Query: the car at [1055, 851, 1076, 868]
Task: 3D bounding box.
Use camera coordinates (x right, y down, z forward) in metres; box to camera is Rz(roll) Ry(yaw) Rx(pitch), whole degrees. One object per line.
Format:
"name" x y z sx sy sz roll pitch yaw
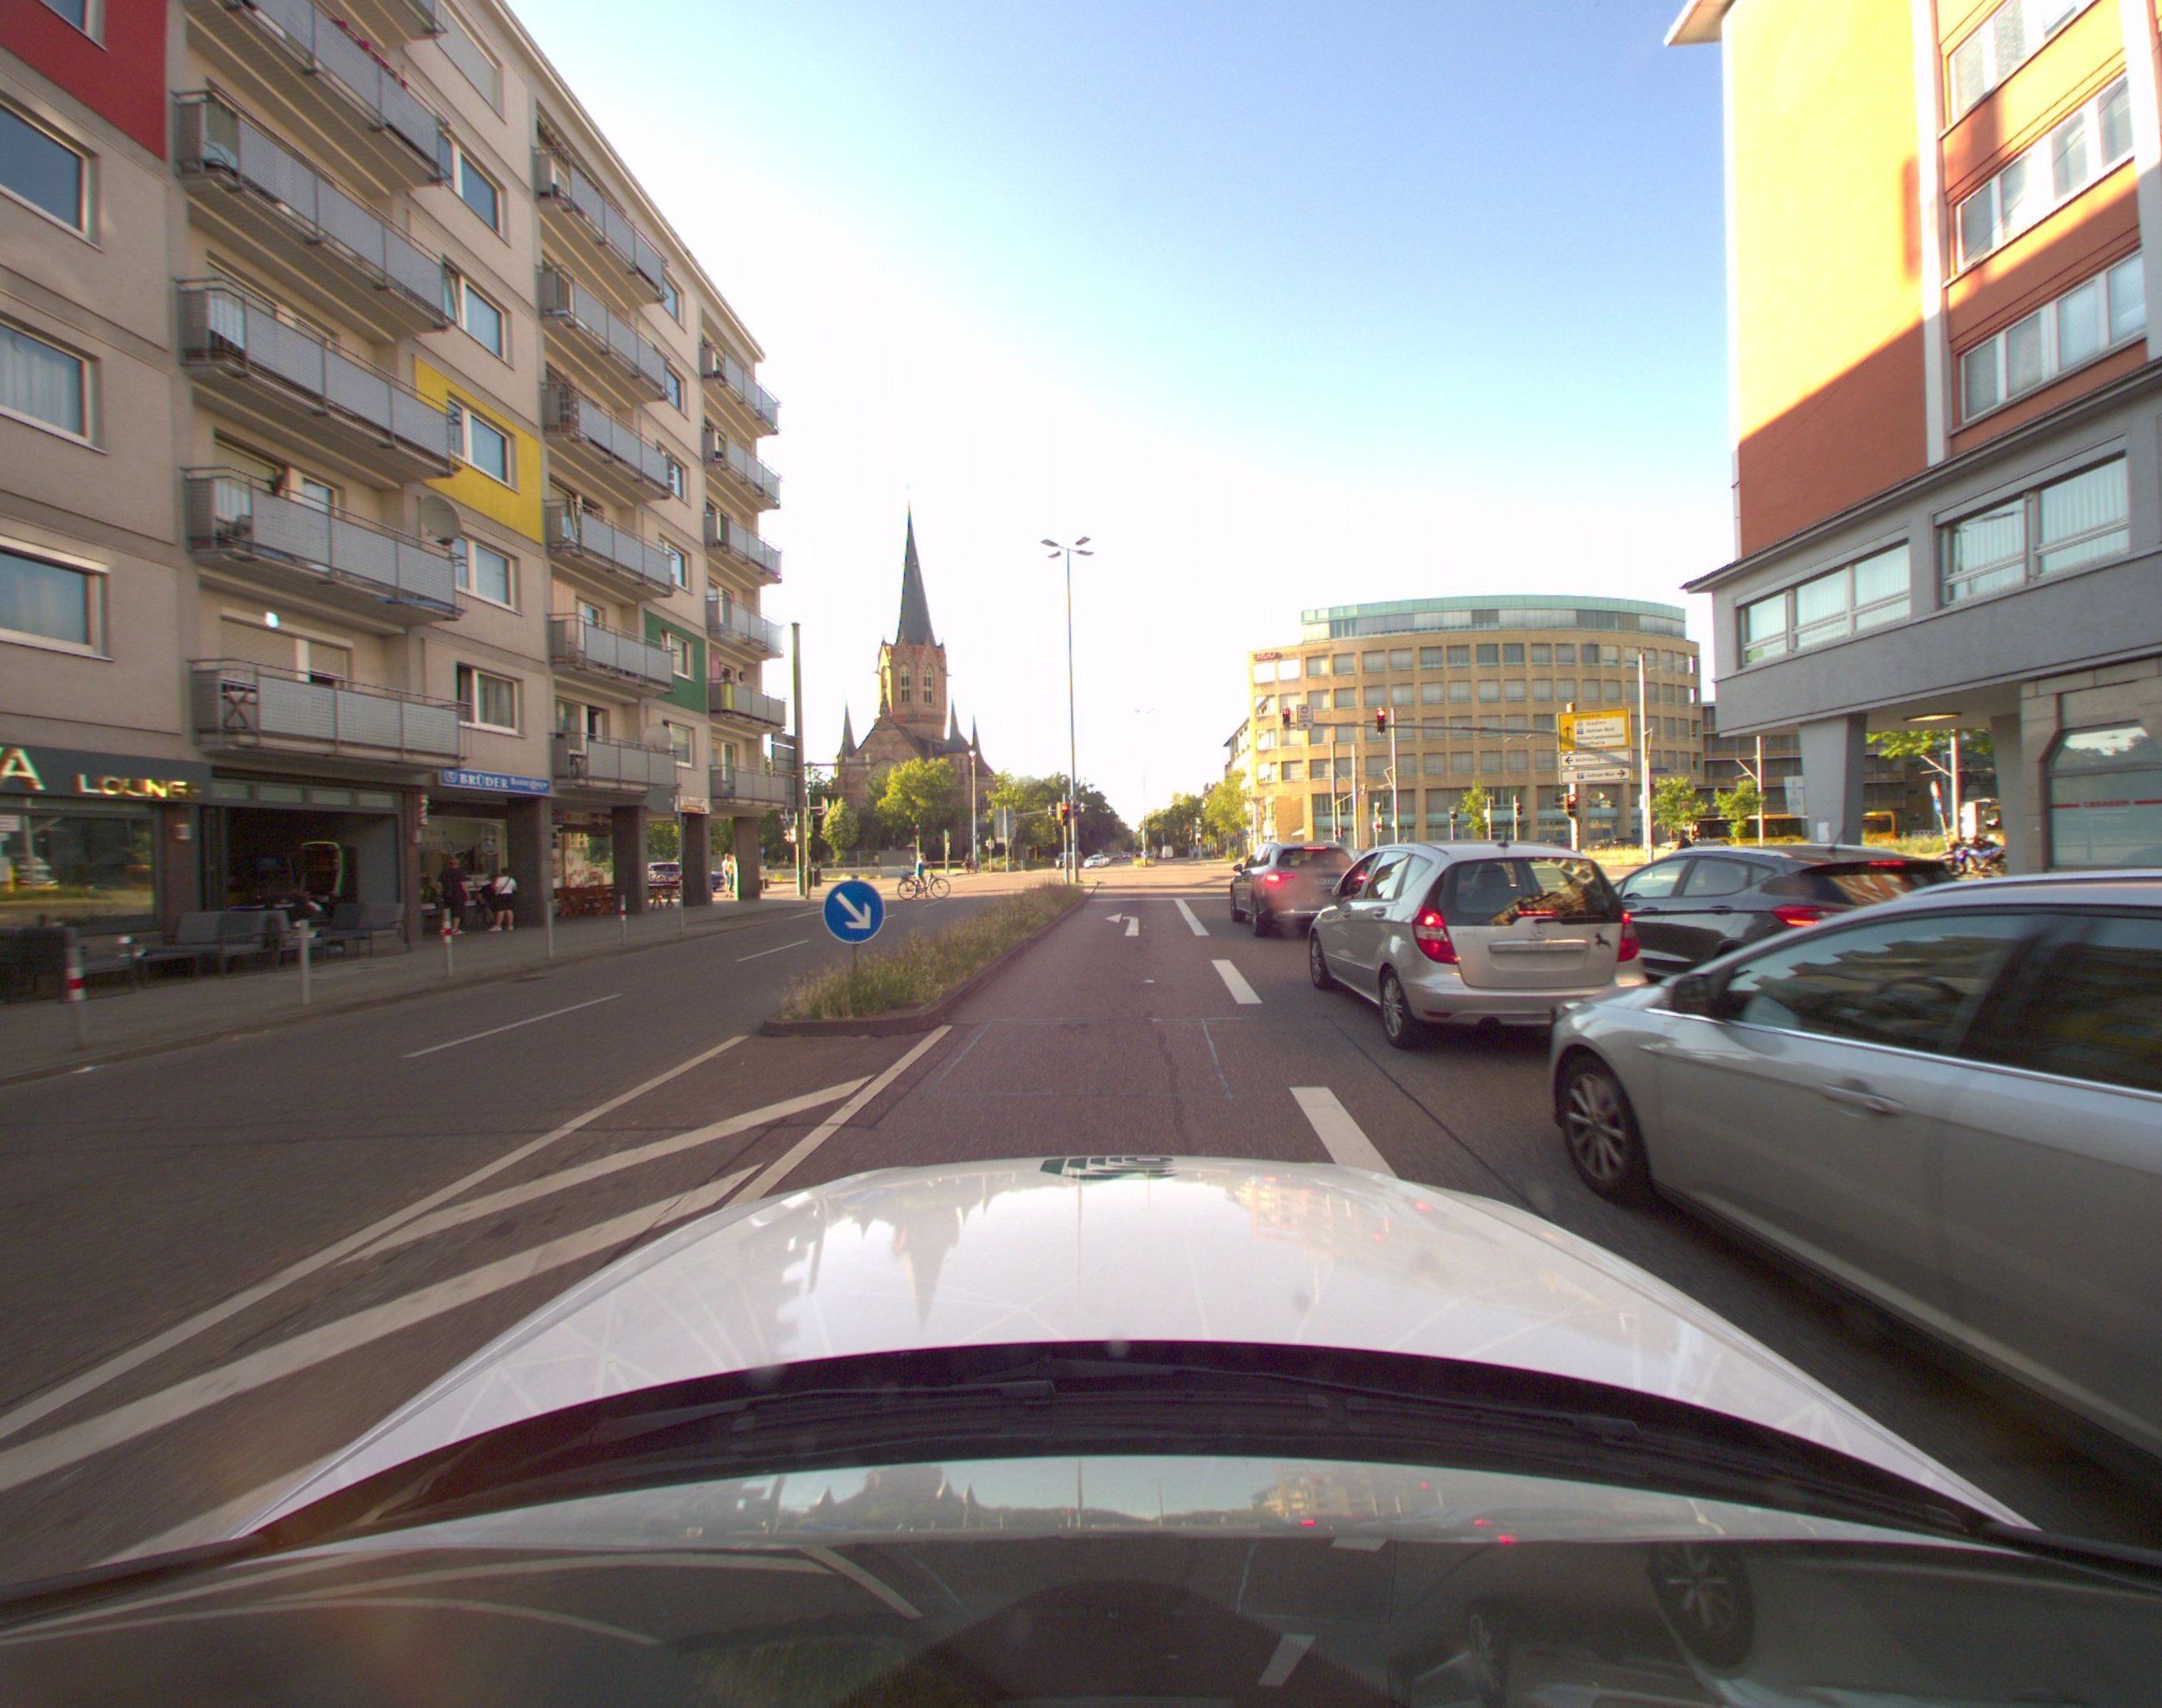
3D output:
"car" -1.652 0.558 87.290 1.772 1.647 4.005 -2 0 4

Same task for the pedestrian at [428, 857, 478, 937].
"pedestrian" -13.926 0.934 18.062 0.784 1.701 0.553 -2 0 -43

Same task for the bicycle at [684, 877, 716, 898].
"bicycle" -16.622 1.444 35.550 0.494 0.840 1.705 -2 0 3

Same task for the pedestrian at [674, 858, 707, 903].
"pedestrian" -15.381 1.038 32.091 0.916 1.758 0.676 -2 0 12

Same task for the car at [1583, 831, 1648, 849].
"car" 43.940 -1.154 67.012 3.972 1.346 2.001 -2 0 1

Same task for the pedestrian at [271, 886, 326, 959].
"pedestrian" -13.642 1.182 14.211 0.524 1.203 0.547 -2 0 -28

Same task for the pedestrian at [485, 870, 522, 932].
"pedestrian" -13.278 1.072 18.724 0.479 1.384 0.484 -2 0 24

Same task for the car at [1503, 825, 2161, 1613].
"car" 2.952 0.682 2.129 1.700 1.510 4.313 -1 0 4

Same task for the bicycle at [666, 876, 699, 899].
"bicycle" -17.400 1.444 35.619 0.494 0.906 1.705 -2 0 3

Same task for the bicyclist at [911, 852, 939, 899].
"bicyclist" -5.714 0.785 29.847 0.779 1.660 0.901 -2 0 3

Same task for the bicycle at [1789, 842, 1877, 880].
"bicycle" 24.284 0.235 26.309 2.077 1.116 0.743 -3 0 2

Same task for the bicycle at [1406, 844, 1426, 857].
"bicycle" 29.864 -0.309 72.638 1.510 1.172 0.476 -2 0 10

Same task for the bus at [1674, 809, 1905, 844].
"bus" 60.699 -2.344 69.949 18.118 2.436 2.421 -2 0 -2

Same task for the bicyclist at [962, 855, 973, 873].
"bicyclist" -10.815 0.950 77.719 0.772 1.694 0.645 -2 0 43

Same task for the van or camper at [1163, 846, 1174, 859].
"van or camper" 17.795 -0.372 165.367 1.984 2.640 5.358 -2 0 5

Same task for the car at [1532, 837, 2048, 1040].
"car" 6.366 0.608 8.093 1.643 1.484 4.244 -1 0 4

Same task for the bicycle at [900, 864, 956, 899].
"bicycle" -5.494 0.985 29.332 1.820 1.188 0.734 -2 0 2

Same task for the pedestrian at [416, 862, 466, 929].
"pedestrian" -15.674 0.994 19.973 0.560 1.578 0.787 -2 0 -2

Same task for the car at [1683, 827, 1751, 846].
"car" 52.041 -1.403 66.670 3.972 1.346 2.001 -2 0 1

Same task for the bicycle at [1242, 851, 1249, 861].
"bicycle" 20.801 0.267 103.126 0.768 1.195 2.473 -2 0 12

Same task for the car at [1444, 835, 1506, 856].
"car" 32.503 -0.693 67.304 4.208 1.614 2.003 -2 0 5

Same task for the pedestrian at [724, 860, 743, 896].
"pedestrian" -14.921 1.018 34.967 0.466 1.530 0.577 -2 0 3

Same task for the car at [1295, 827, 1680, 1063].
"car" 3.262 0.614 7.406 1.796 1.568 3.621 -2 0 3

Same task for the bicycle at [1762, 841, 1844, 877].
"bicycle" 24.564 0.158 27.725 2.077 1.116 0.743 -3 0 2

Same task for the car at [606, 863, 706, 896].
"car" -22.603 1.346 43.415 4.382 1.573 1.838 -2 0 5

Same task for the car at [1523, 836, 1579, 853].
"car" 38.628 -0.777 66.970 3.592 1.342 1.724 -2 0 4

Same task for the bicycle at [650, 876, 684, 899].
"bicycle" -18.030 1.449 35.517 0.494 0.906 1.705 -2 0 3

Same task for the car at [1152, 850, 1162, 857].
"car" 18.316 -0.225 196.476 1.987 1.592 4.000 -2 0 1

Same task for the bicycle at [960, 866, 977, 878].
"bicycle" -10.759 1.721 77.691 1.659 1.139 0.651 -2 0 43

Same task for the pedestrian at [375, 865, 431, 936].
"pedestrian" -15.654 1.058 18.818 0.558 1.578 0.788 -2 0 4

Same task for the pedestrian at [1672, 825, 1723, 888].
"pedestrian" 17.830 0.063 23.584 0.939 1.768 0.671 -2 0 8

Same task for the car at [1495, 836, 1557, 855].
"car" 38.187 -0.751 70.007 4.214 1.502 2.000 -2 0 0

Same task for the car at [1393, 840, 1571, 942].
"car" 6.775 0.552 14.140 1.483 1.505 3.481 -2 0 3

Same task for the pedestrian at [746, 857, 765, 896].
"pedestrian" -13.882 0.969 34.738 0.464 1.642 0.580 -2 0 24

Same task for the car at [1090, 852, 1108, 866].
"car" 2.061 0.548 93.116 1.772 1.464 4.005 -2 0 4

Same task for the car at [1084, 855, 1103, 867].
"car" 1.329 0.719 86.567 1.772 1.236 4.005 -2 0 4

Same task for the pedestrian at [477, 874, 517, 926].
"pedestrian" -14.377 1.135 20.061 0.551 1.239 0.533 -2 0 18

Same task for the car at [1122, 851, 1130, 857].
"car" 11.693 0.060 211.018 1.772 1.448 4.005 -2 0 4

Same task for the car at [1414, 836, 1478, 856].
"car" 31.686 -0.715 70.812 4.630 1.598 2.001 -2 0 1

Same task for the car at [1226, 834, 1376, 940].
"car" 3.906 0.508 15.206 1.776 1.632 4.482 -2 0 3

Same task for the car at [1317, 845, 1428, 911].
"car" 6.889 0.508 19.627 1.578 1.446 3.651 0 0 4

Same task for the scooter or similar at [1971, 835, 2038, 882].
"scooter or similar" 25.799 0.131 22.766 1.125 1.245 0.431 -3 0 24

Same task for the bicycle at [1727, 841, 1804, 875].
"bicycle" 24.577 0.150 29.280 2.077 1.116 0.743 -3 0 2

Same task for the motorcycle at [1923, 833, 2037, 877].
"motorcycle" 27.410 0.029 24.900 0.850 1.241 2.404 -2 0 1

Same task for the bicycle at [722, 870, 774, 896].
"bicycle" -16.531 1.443 40.491 2.035 1.168 1.162 -2 0 2

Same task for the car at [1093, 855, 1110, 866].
"car" 2.529 0.728 100.372 1.772 1.236 4.005 -2 0 4

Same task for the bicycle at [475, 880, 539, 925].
"bicycle" -14.948 1.233 21.241 0.585 1.081 1.457 -2 -1 1

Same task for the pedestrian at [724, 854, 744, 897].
"pedestrian" -14.553 0.893 34.177 0.549 1.769 0.470 -2 0 5
